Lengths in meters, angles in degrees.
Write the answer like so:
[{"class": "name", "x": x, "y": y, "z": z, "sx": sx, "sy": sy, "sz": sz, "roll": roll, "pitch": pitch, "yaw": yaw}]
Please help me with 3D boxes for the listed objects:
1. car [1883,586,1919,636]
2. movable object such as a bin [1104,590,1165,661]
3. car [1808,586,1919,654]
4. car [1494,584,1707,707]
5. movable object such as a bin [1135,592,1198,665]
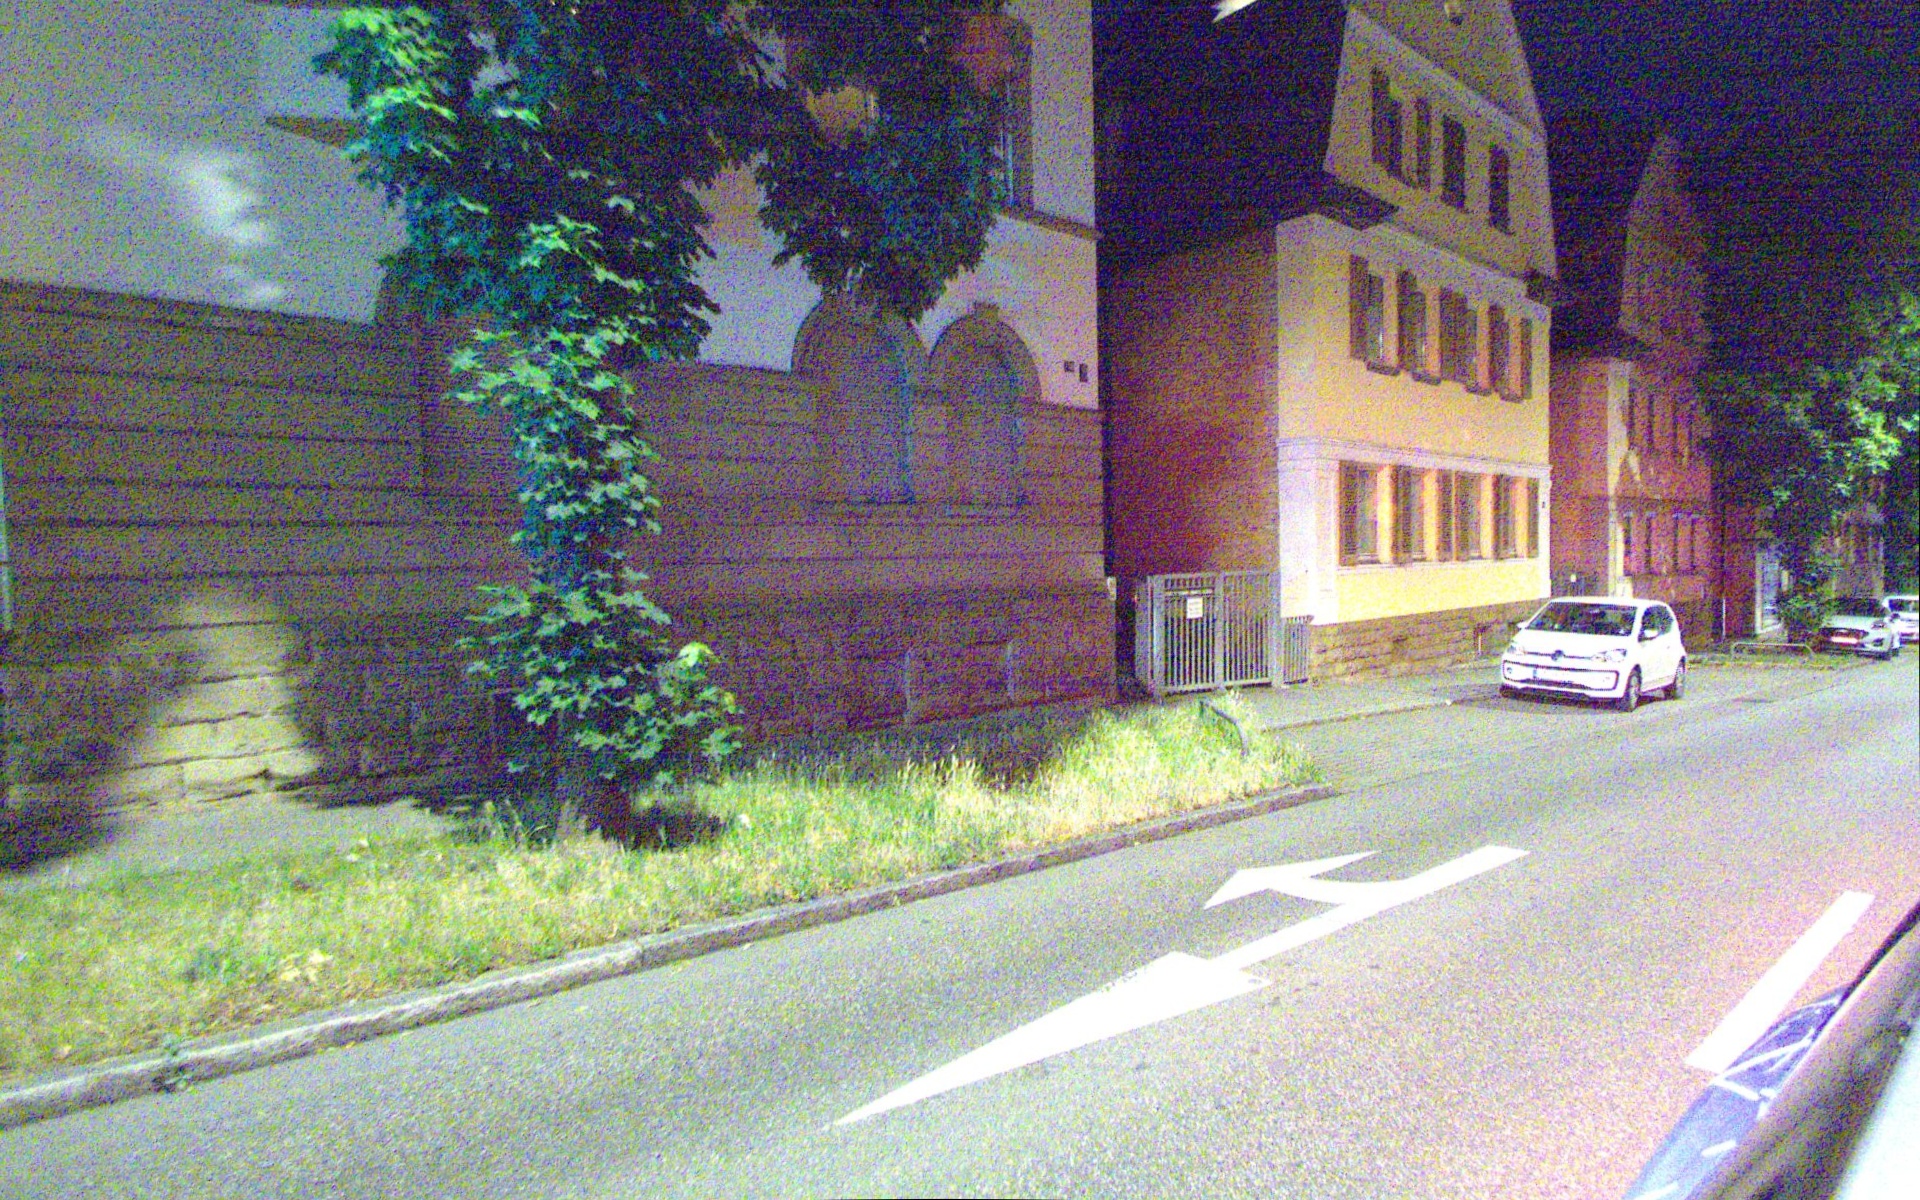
[{"class": "car", "x": 33.796, "y": 0.383, "z": 35.341, "sx": 4.281, "sy": 1.616, "sz": 1.742, "roll": 0, "pitch": 2, "yaw": -40}, {"class": "movable object such as a bin", "x": 2.722, "y": 0.383, "z": 15.760, "sx": 0.742, "sy": 1.062, "sz": 0.608, "roll": 0, "pitch": 0, "yaw": -41}, {"class": "car", "x": 23.812, "y": 0.461, "z": 26.573, "sx": 3.977, "sy": 1.572, "sz": 1.862, "roll": 0, "pitch": 3, "yaw": -43}, {"class": "car", "x": 9.327, "y": 0.565, "z": 14.653, "sx": 3.541, "sy": 1.503, "sz": 1.671, "roll": 0, "pitch": 2, "yaw": -42}, {"class": "movable object such as a bin", "x": 3.114, "y": 0.409, "z": 15.242, "sx": 0.742, "sy": 1.062, "sz": 0.608, "roll": 0, "pitch": 0, "yaw": -41}]
